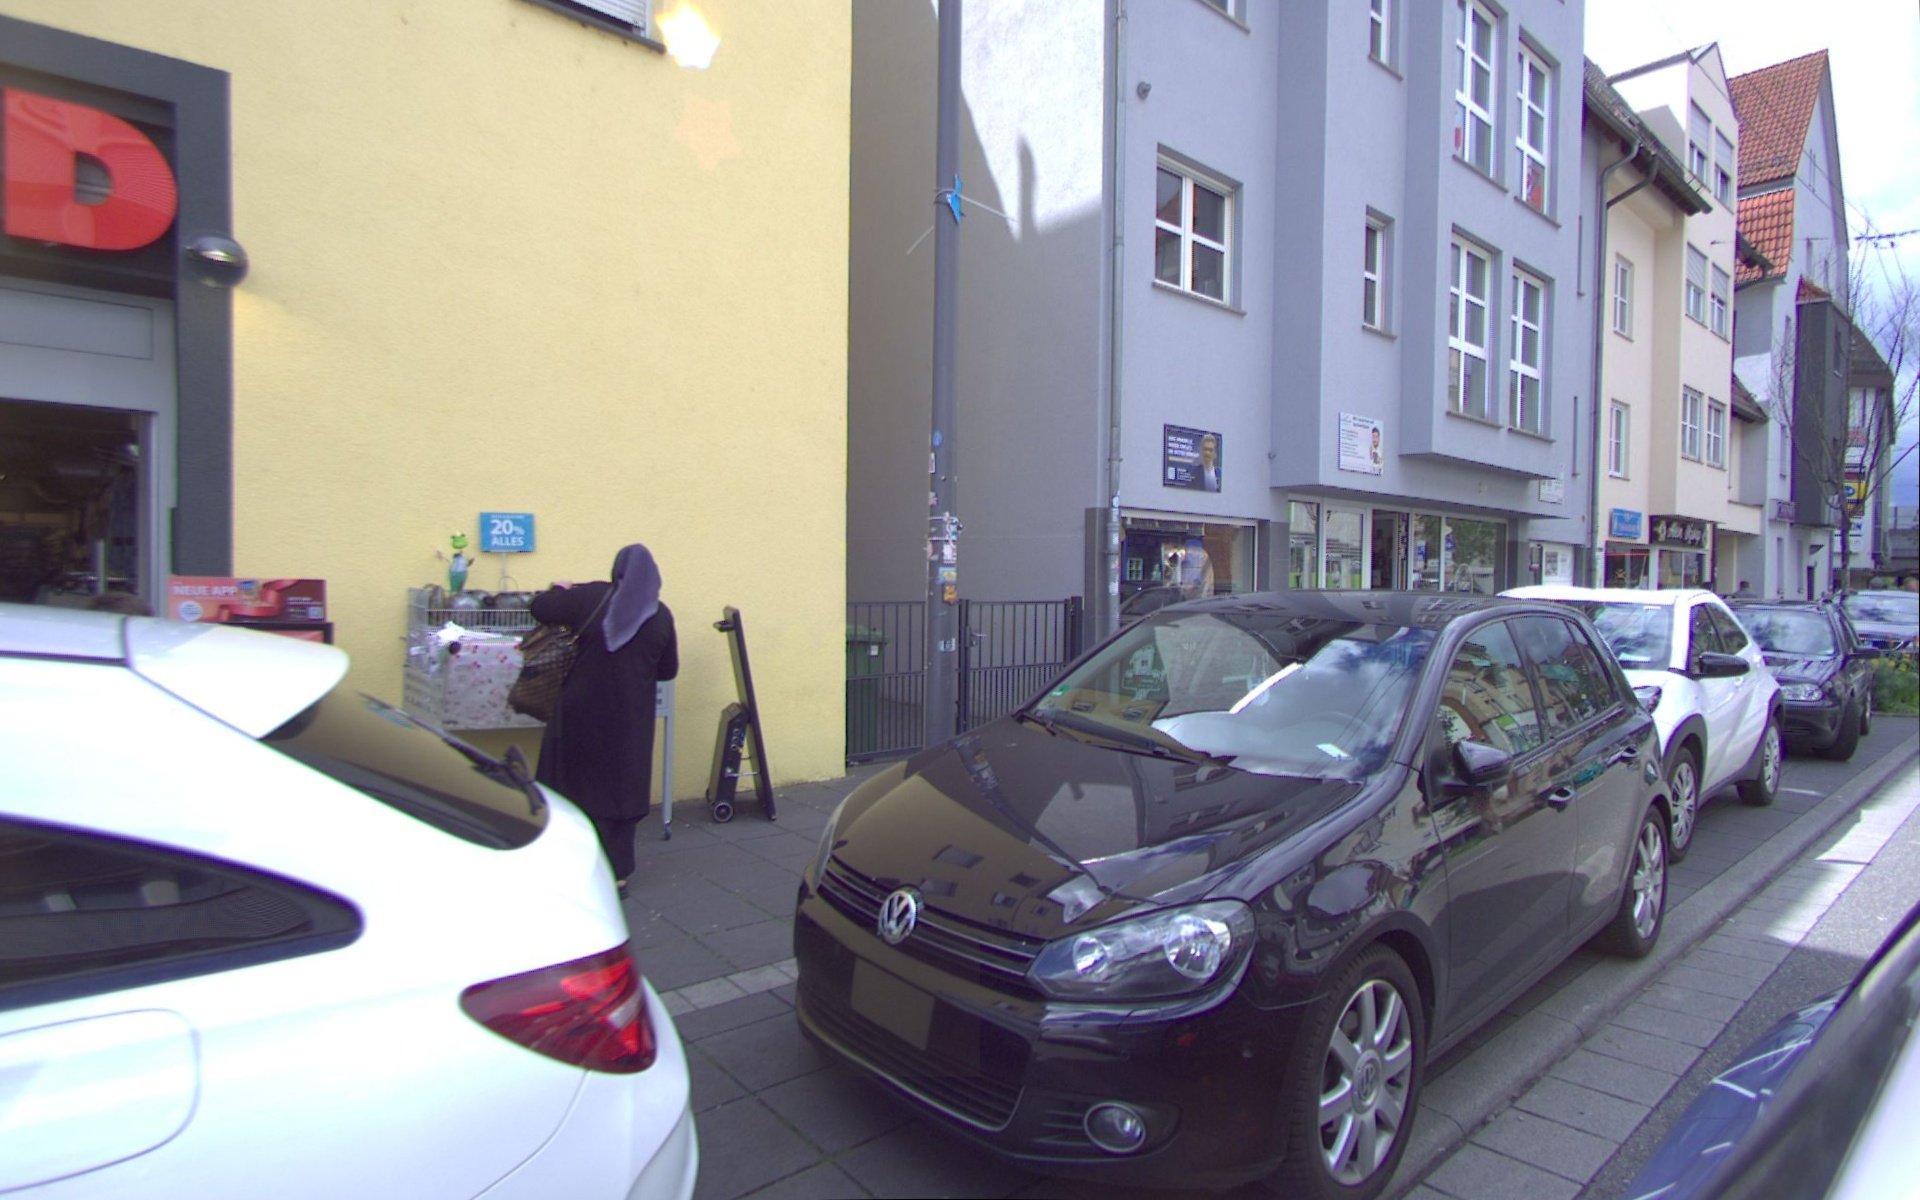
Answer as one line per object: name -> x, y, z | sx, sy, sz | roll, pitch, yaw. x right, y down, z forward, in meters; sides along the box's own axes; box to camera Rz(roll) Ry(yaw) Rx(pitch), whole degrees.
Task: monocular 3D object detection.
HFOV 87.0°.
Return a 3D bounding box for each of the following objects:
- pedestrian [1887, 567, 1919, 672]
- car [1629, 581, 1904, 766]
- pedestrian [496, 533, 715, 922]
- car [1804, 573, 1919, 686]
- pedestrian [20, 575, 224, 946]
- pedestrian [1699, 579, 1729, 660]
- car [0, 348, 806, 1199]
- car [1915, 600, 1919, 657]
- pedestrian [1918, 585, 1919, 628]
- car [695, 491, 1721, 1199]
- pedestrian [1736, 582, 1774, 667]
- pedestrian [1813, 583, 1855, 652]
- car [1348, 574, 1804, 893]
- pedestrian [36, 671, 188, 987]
pedestrian -> 17.810, 0.353, 18.614 | 0.850, 1.886, 0.977 | -1, 3, -42
car -> 8.569, 0.584, 10.610 | 4.226, 1.458, 1.691 | -1, 4, -44
pedestrian -> -1.617, 0.498, 4.596 | 0.713, 1.572, 0.751 | -1, 2, -41
car -> 15.475, 0.436, 16.694 | 4.132, 1.623, 1.802 | 0, 3, -43
pedestrian -> -3.347, 0.593, 4.077 | 0.527, 1.381, 0.446 | 1, 1, -25
pedestrian -> 16.373, 0.416, 21.973 | 0.528, 1.739, 0.436 | -1, 0, -44
car -> -2.629, 0.522, 0.662 | 4.869, 1.494, 1.634 | -1, 1, -40
car -> 26.820, 0.707, 26.761 | 4.240, 1.438, 1.711 | -1, 1, -39
pedestrian -> 39.267, 0.253, 41.048 | 0.570, 1.724, 0.474 | -1, 0, 42
car -> 1.420, 0.606, 3.869 | 4.447, 1.491, 1.690 | 2, -1, -44
pedestrian -> 16.709, 0.503, 21.267 | 0.596, 1.739, 0.536 | -1, 0, -42
pedestrian -> 22.666, 0.432, 26.246 | 0.645, 1.739, 0.744 | -1, 1, -42
car -> 4.361, 0.638, 6.945 | 3.692, 1.594, 1.691 | -1, 1, -42
pedestrian -> -2.966, 0.774, 3.558 | 0.288, 1.013, 0.352 | 1, 1, -16
